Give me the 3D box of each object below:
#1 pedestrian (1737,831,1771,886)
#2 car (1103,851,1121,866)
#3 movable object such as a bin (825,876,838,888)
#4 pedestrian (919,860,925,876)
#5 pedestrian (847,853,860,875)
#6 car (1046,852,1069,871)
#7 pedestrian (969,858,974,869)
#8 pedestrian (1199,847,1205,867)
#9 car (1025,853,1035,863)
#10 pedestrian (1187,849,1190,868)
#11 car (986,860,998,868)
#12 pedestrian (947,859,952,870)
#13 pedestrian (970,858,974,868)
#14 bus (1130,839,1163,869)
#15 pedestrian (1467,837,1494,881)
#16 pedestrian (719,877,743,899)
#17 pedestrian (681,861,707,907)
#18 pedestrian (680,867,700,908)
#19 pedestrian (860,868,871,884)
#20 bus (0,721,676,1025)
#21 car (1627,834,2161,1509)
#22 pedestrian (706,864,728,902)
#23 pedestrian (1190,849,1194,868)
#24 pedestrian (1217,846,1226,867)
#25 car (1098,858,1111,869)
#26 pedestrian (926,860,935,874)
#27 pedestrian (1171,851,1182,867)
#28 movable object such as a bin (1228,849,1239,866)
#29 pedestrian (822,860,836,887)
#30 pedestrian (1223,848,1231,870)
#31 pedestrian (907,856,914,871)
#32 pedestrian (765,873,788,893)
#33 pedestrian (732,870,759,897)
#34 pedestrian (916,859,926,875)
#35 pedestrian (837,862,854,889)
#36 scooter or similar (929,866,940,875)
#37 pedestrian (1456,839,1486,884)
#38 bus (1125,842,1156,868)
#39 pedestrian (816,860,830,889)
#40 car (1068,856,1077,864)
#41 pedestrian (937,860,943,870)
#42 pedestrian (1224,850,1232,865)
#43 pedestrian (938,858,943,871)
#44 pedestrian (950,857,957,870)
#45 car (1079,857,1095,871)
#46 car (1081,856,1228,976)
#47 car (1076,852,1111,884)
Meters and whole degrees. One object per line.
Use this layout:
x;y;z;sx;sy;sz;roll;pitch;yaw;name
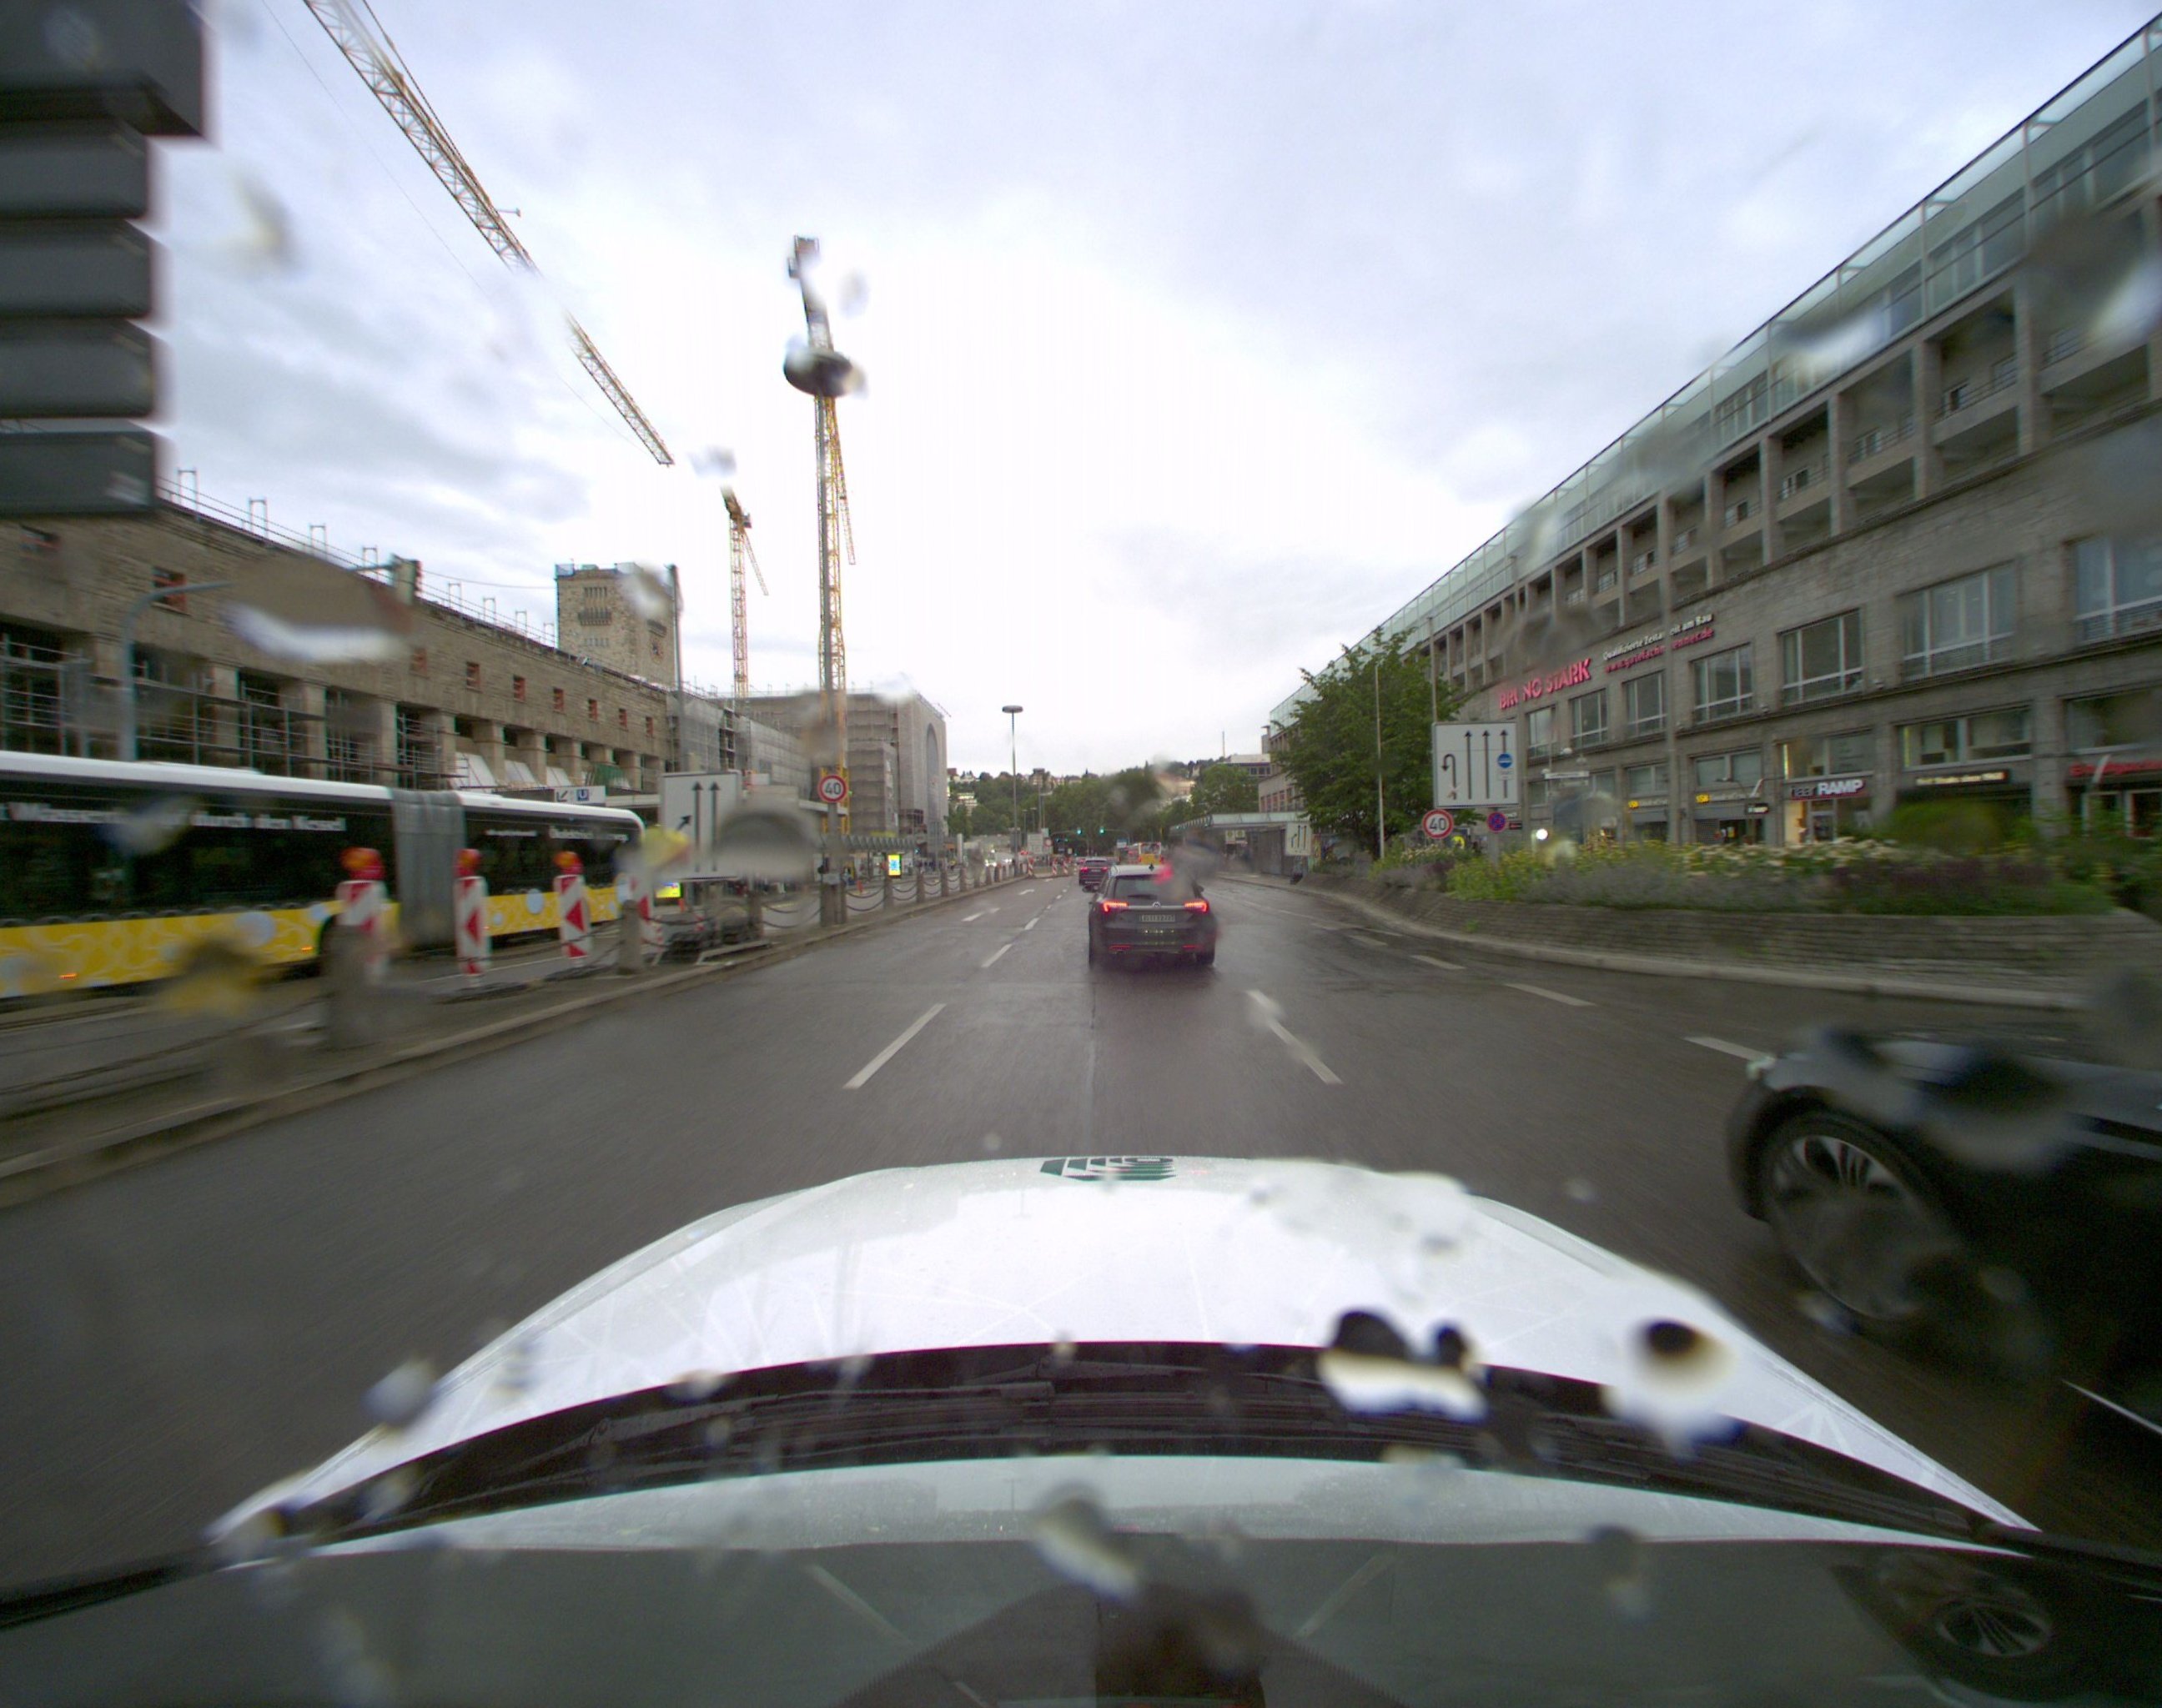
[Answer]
21.842;0.145;26.446;0.530;1.751;0.636;-1;0;-2;pedestrian
3.629;0.562;95.726;1.847;1.717;3.996;0;-1;-3;car
-16.505;1.843;53.863;0.505;0.789;0.638;-3;-1;45;movable object such as a bin
-18.112;1.597;92.663;0.507;1.841;0.703;-1;0;-6;pedestrian
-19.263;0.838;68.864;0.738;1.841;0.705;-1;0;20;pedestrian
-2.371;0.744;81.900;1.986;1.862;4.833;-2;0;1;car
-19.452;1.658;144.896;0.696;1.841;0.528;-2;0;-3;pedestrian
13.536;0.342;90.943;0.588;2.215;0.587;-1;0;2;pedestrian
-10.865;0.899;173.853;1.991;2.014;5.358;0;-1;-6;car
10.427;0.472;78.801;0.242;1.836;0.512;-1;-1;3;pedestrian
-16.771;1.927;153.689;1.987;1.468;3.999;-1;-1;0;car
-20.379;1.686;126.032;0.682;1.685;0.834;-1;0;-14;pedestrian
-19.466;1.660;145.612;0.696;1.841;0.877;0;-1;-3;pedestrian
7.574;0.049;95.129;3.131;3.248;9.133;-1;-1;0;bus
16.169;0.215;32.988;0.611;1.751;0.868;-1;0;-1;pedestrian
-18.143;1.758;42.193;0.841;1.093;0.925;-1;0;-1;pedestrian
-16.948;1.304;35.655;0.757;1.959;0.822;-1;-1;-3;pedestrian
-17.619;1.501;36.709;0.555;1.790;0.803;-1;0;-8;pedestrian
-17.758;1.809;67.165;0.697;1.326;0.805;-1;0;-2;pedestrian
-13.968;0.302;14.661;2.898;3.577;19.089;-3;0;3;bus
3.218;0.669;1.178;1.811;1.464;4.702;-1;0;2;car
-17.240;1.364;38.630;0.723;1.790;0.746;-1;0;-6;pedestrian
10.744;0.446;78.752;0.345;1.836;0.533;-1;0;3;pedestrian
12.438;0.251;72.135;0.673;1.836;0.574;-1;0;2;pedestrian
3.272;1.334;113.260;1.669;1.581;3.238;0;-1;-1;car
-20.763;1.792;112.366;0.835;1.841;1.059;-1;0;3;pedestrian
10.279;0.556;87.769;0.762;1.690;0.992;-1;0;-21;pedestrian
14.984;0.336;80.020;0.665;1.652;1.040;-1;0;-23;movable object such as a bin
-17.206;1.332;55.661;0.785;1.790;0.666;-1;0;-28;pedestrian
12.741;0.426;71.037;0.625;1.836;0.642;-1;0;2;pedestrian
-21.460;1.216;102.301;0.718;1.841;0.612;-1;0;3;pedestrian
-18.331;1.738;48.983;0.946;1.158;1.055;-1;0;0;pedestrian
-18.210;1.597;44.210;1.052;1.432;0.830;-1;0;-2;pedestrian
-18.925;1.540;96.309;0.695;1.841;0.883;-1;0;28;pedestrian
-15.733;1.410;54.371;0.771;1.790;0.862;-1;0;7;pedestrian
-17.601;1.937;97.919;0.454;1.066;1.248;-1;0;34;scooter or similar
15.489;0.297;32.395;0.638;1.751;1.076;-1;0;-1;pedestrian
7.531;0.178;104.294;3.104;3.205;9.238;0;-1;-1;bus
-16.915;1.337;53.329;0.682;1.848;0.551;-1;-1;-45;pedestrian
-1.687;1.282;170.128;1.700;1.665;3.706;-1;-1;1;car
-21.675;1.698;125.016;0.674;1.613;0.839;-1;0;2;pedestrian
15.947;0.385;88.571;0.745;1.695;0.902;-1;0;3;pedestrian
-19.970;1.533;115.749;0.571;1.841;0.701;-1;0;-14;pedestrian
-17.993;1.327;114.489;0.876;1.841;0.834;-1;0;-14;pedestrian
0.905;1.511;119.939;1.980;2.014;4.363;0;-1;-4;car
1.008;0.808;12.952;1.871;1.508;4.853;-1;0;1;car
0.713;0.745;45.324;1.824;1.686;4.134;-2;0;1;car
